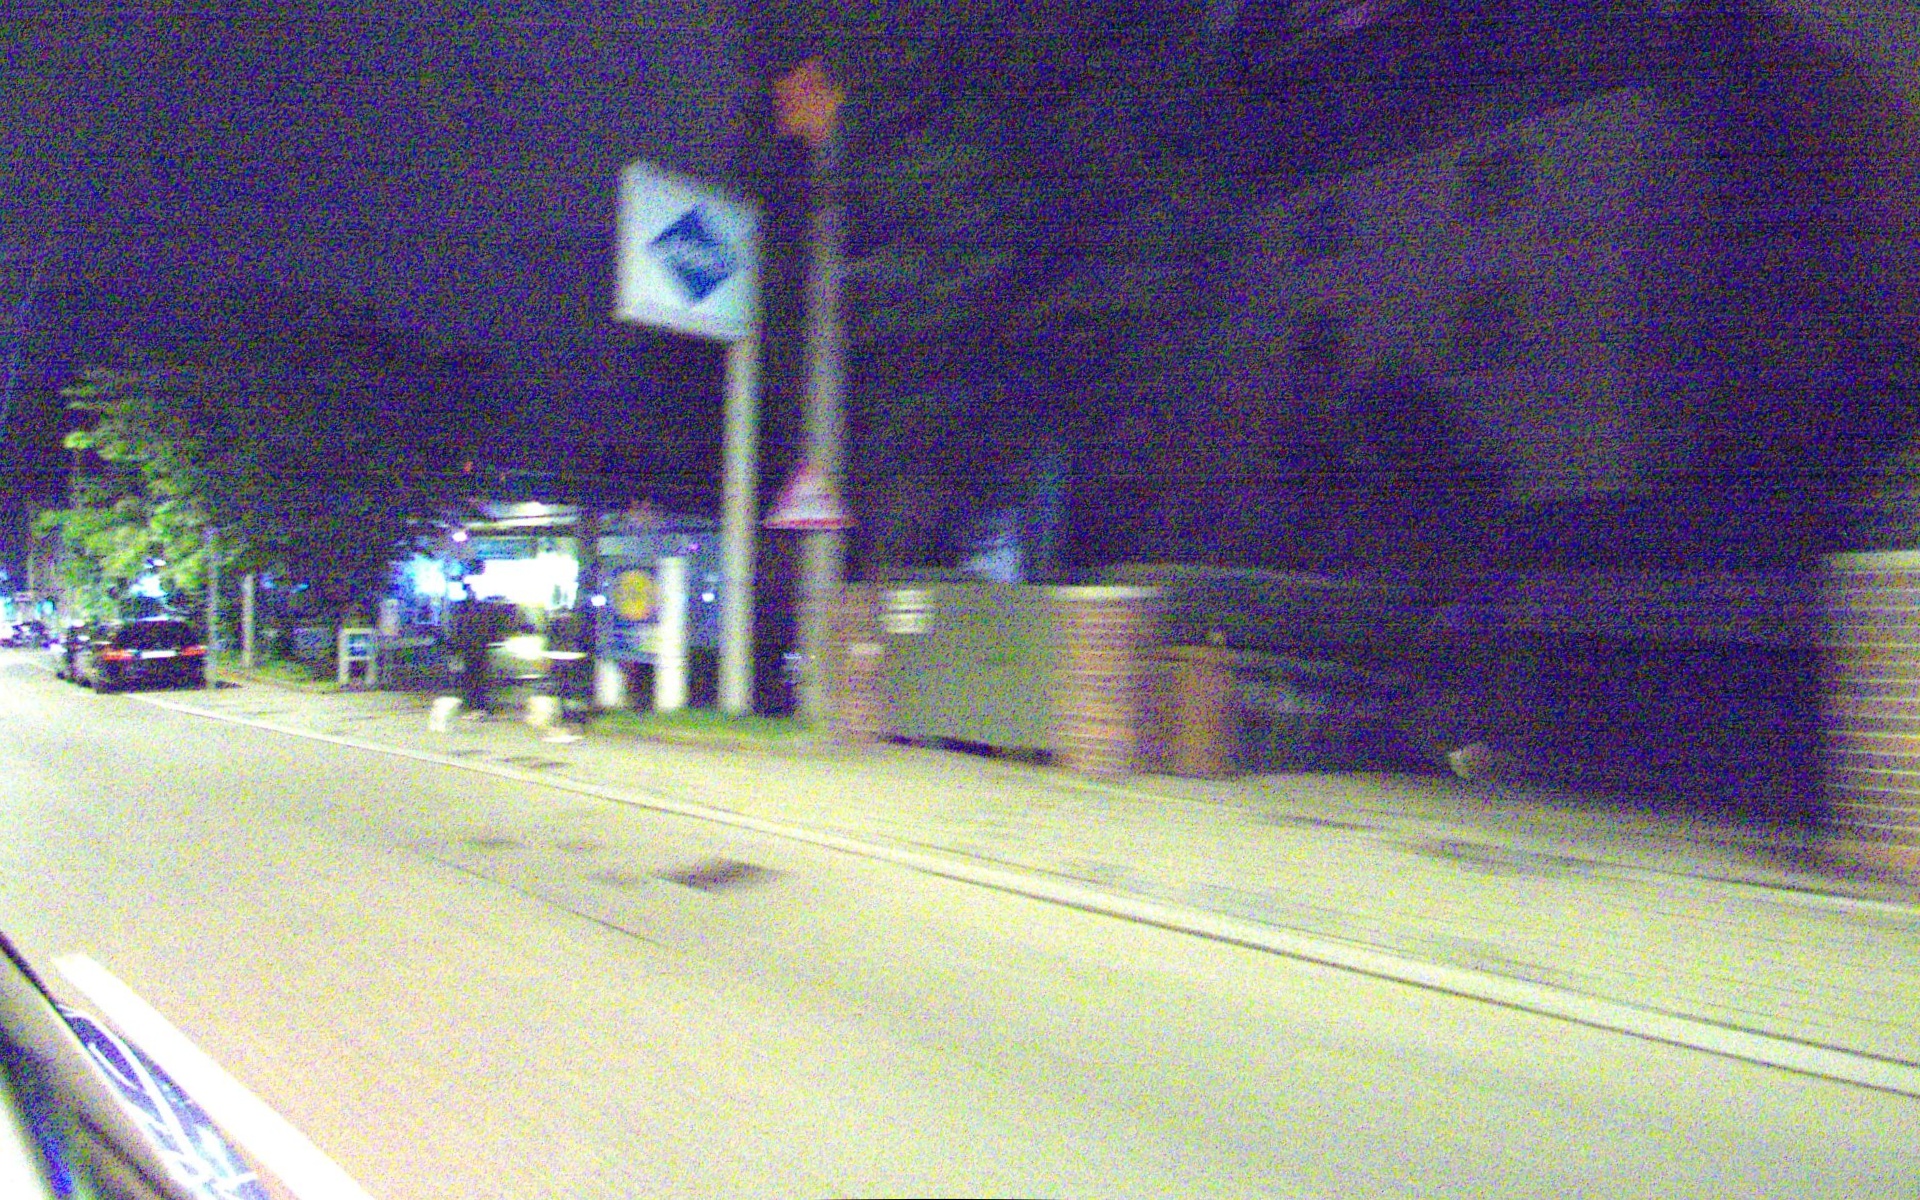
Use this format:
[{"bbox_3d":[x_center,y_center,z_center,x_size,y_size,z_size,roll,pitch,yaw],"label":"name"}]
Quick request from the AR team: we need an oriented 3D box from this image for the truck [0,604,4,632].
[{"bbox_3d":[-90.675,1.744,94.351,2.056,2.596,6.877,0,-1,-45],"label":"truck"}]

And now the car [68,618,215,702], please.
[{"bbox_3d":[-17.806,1.232,21.940,4.588,1.544,1.839,-2,1,43],"label":"car"}]

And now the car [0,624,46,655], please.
[{"bbox_3d":[-54.854,2.285,59.014,3.998,1.657,1.849,-2,-1,41],"label":"car"}]

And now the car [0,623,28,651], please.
[{"bbox_3d":[-59.594,2.281,63.058,3.998,1.657,1.849,-2,-1,41],"label":"car"}]

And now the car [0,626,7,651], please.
[{"bbox_3d":[-66.011,2.618,68.505,3.998,1.657,1.849,-2,-1,41],"label":"car"}]

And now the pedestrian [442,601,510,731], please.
[{"bbox_3d":[-6.767,0.893,14.152,0.660,1.739,0.868,0,-1,-40],"label":"pedestrian"}]

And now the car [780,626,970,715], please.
[{"bbox_3d":[-1.653,1.274,19.037,3.284,1.548,2.005,1,-1,-14],"label":"car"}]

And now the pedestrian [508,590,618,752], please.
[{"bbox_3d":[-4.409,0.745,11.213,1.103,1.684,0.734,-1,-1,44],"label":"pedestrian"}]

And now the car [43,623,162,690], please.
[{"bbox_3d":[-21.604,1.362,25.452,3.897,1.477,1.839,-2,1,43],"label":"car"}]

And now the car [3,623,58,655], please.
[{"bbox_3d":[-51.516,2.161,56.083,3.998,1.657,1.849,-2,-1,41],"label":"car"}]
